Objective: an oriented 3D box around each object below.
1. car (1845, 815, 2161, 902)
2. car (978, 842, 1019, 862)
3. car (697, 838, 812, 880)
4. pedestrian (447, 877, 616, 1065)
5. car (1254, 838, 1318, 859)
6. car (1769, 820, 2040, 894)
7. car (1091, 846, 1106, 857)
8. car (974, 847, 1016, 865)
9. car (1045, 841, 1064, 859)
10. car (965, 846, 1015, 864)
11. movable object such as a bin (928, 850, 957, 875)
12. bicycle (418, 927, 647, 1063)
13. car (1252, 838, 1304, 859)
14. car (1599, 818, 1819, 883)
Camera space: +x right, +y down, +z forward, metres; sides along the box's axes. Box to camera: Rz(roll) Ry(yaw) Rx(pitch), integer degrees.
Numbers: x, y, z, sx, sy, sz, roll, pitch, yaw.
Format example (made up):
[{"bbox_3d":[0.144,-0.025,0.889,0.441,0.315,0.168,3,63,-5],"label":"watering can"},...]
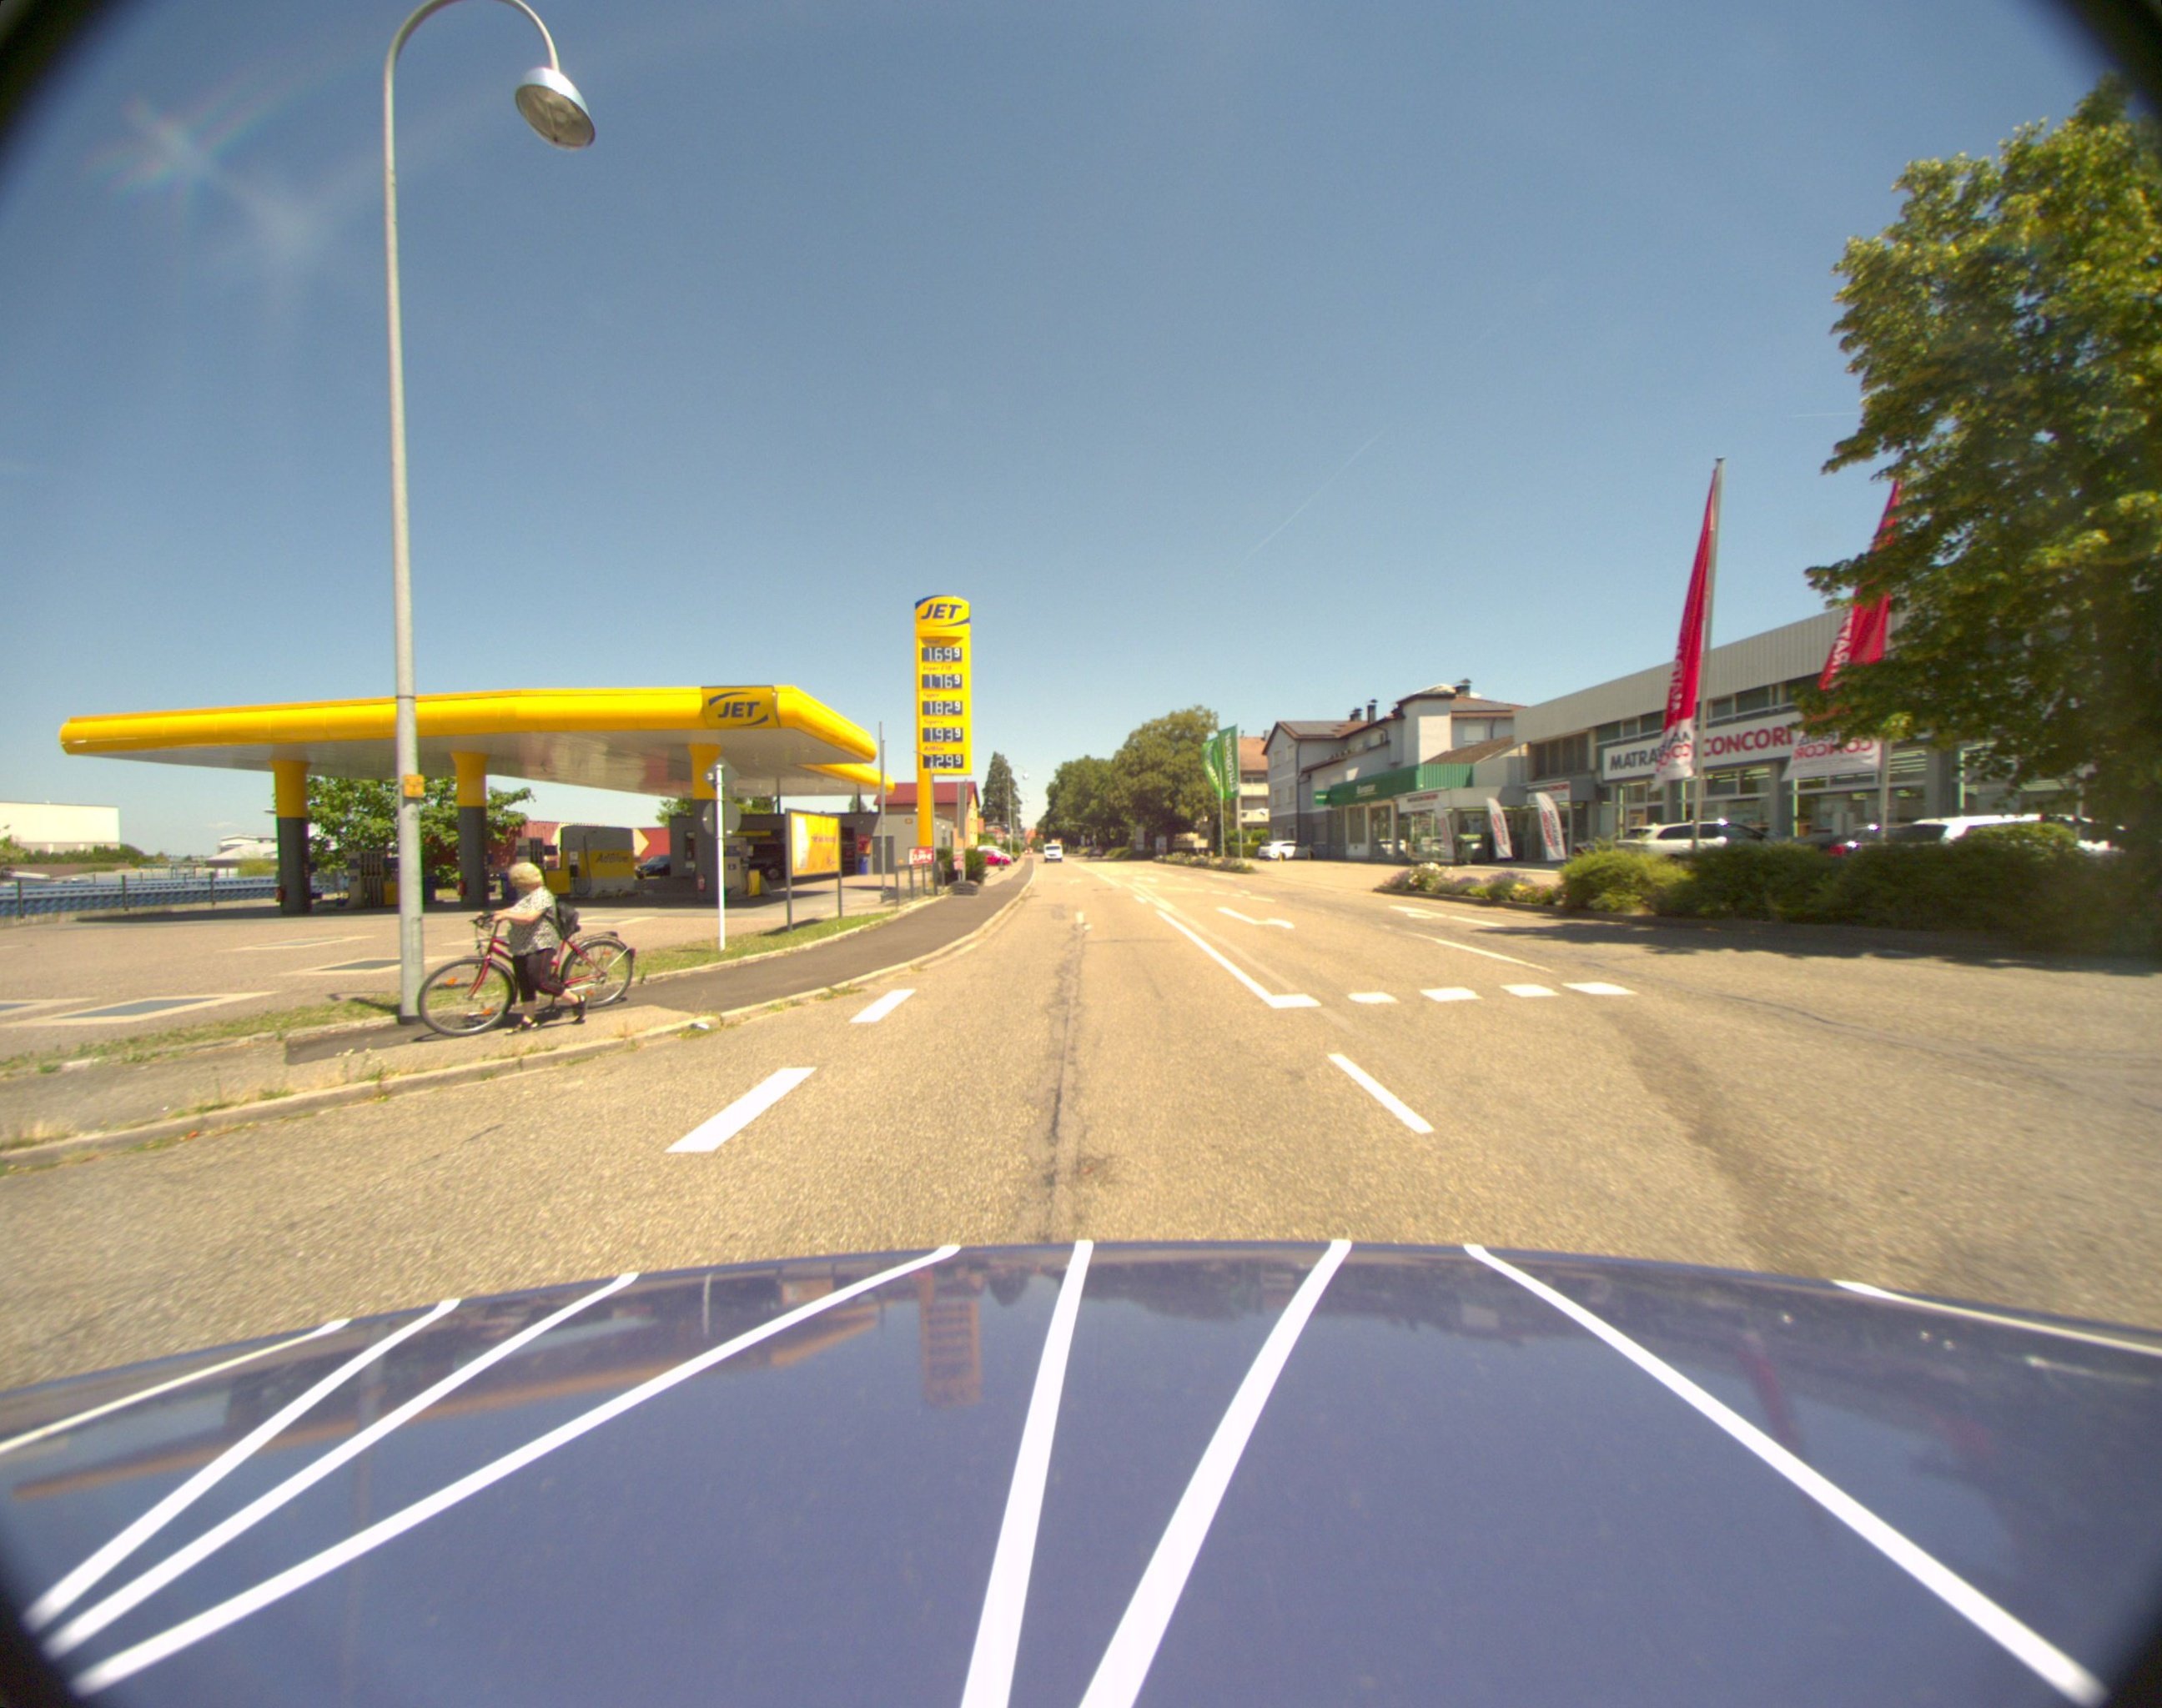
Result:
[{"bbox_3d":[17.872,0.082,14.522,4.190,1.438,1.981,-2,1,13],"label":"car"},{"bbox_3d":[-8.760,-0.222,80.671,4.147,1.927,1.806,-2,1,-9],"label":"car"},{"bbox_3d":[-16.959,0.222,39.670,5.063,1.964,1.999,-2,1,-1],"label":"car"},{"bbox_3d":[-4.650,0.930,6.460,0.769,1.413,0.869,-2,1,31],"label":"pedestrian"},{"bbox_3d":[15.193,-0.425,56.326,4.360,1.431,1.936,-2,1,-25],"label":"car"},{"bbox_3d":[18.411,0.077,17.223,3.630,1.466,2.002,-2,1,16],"label":"car"},{"bbox_3d":[2.391,-0.379,104.318,1.767,1.518,4.136,-1,1,-3],"label":"car"},{"bbox_3d":[-7.885,0.144,69.696,3.696,1.557,1.707,-1,0,-6],"label":"car"},{"bbox_3d":[-2.933,-0.429,83.440,1.797,1.904,3.638,-2,1,-5],"label":"car"},{"bbox_3d":[-7.989,0.099,67.217,4.236,1.526,1.957,-1,0,-4],"label":"car"},{"bbox_3d":[-8.008,0.471,43.880,1.438,1.429,1.467,0,1,-2],"label":"movable object such as a bin"},{"bbox_3d":[-4.864,1.201,6.858,0.378,0.907,1.601,-1,1,35],"label":"bicycle"},{"bbox_3d":[15.568,-0.425,60.207,3.570,1.556,1.968,-2,1,-3],"label":"car"},{"bbox_3d":[18.226,-0.092,22.322,4.536,1.654,2.002,-2,1,16],"label":"car"}]
